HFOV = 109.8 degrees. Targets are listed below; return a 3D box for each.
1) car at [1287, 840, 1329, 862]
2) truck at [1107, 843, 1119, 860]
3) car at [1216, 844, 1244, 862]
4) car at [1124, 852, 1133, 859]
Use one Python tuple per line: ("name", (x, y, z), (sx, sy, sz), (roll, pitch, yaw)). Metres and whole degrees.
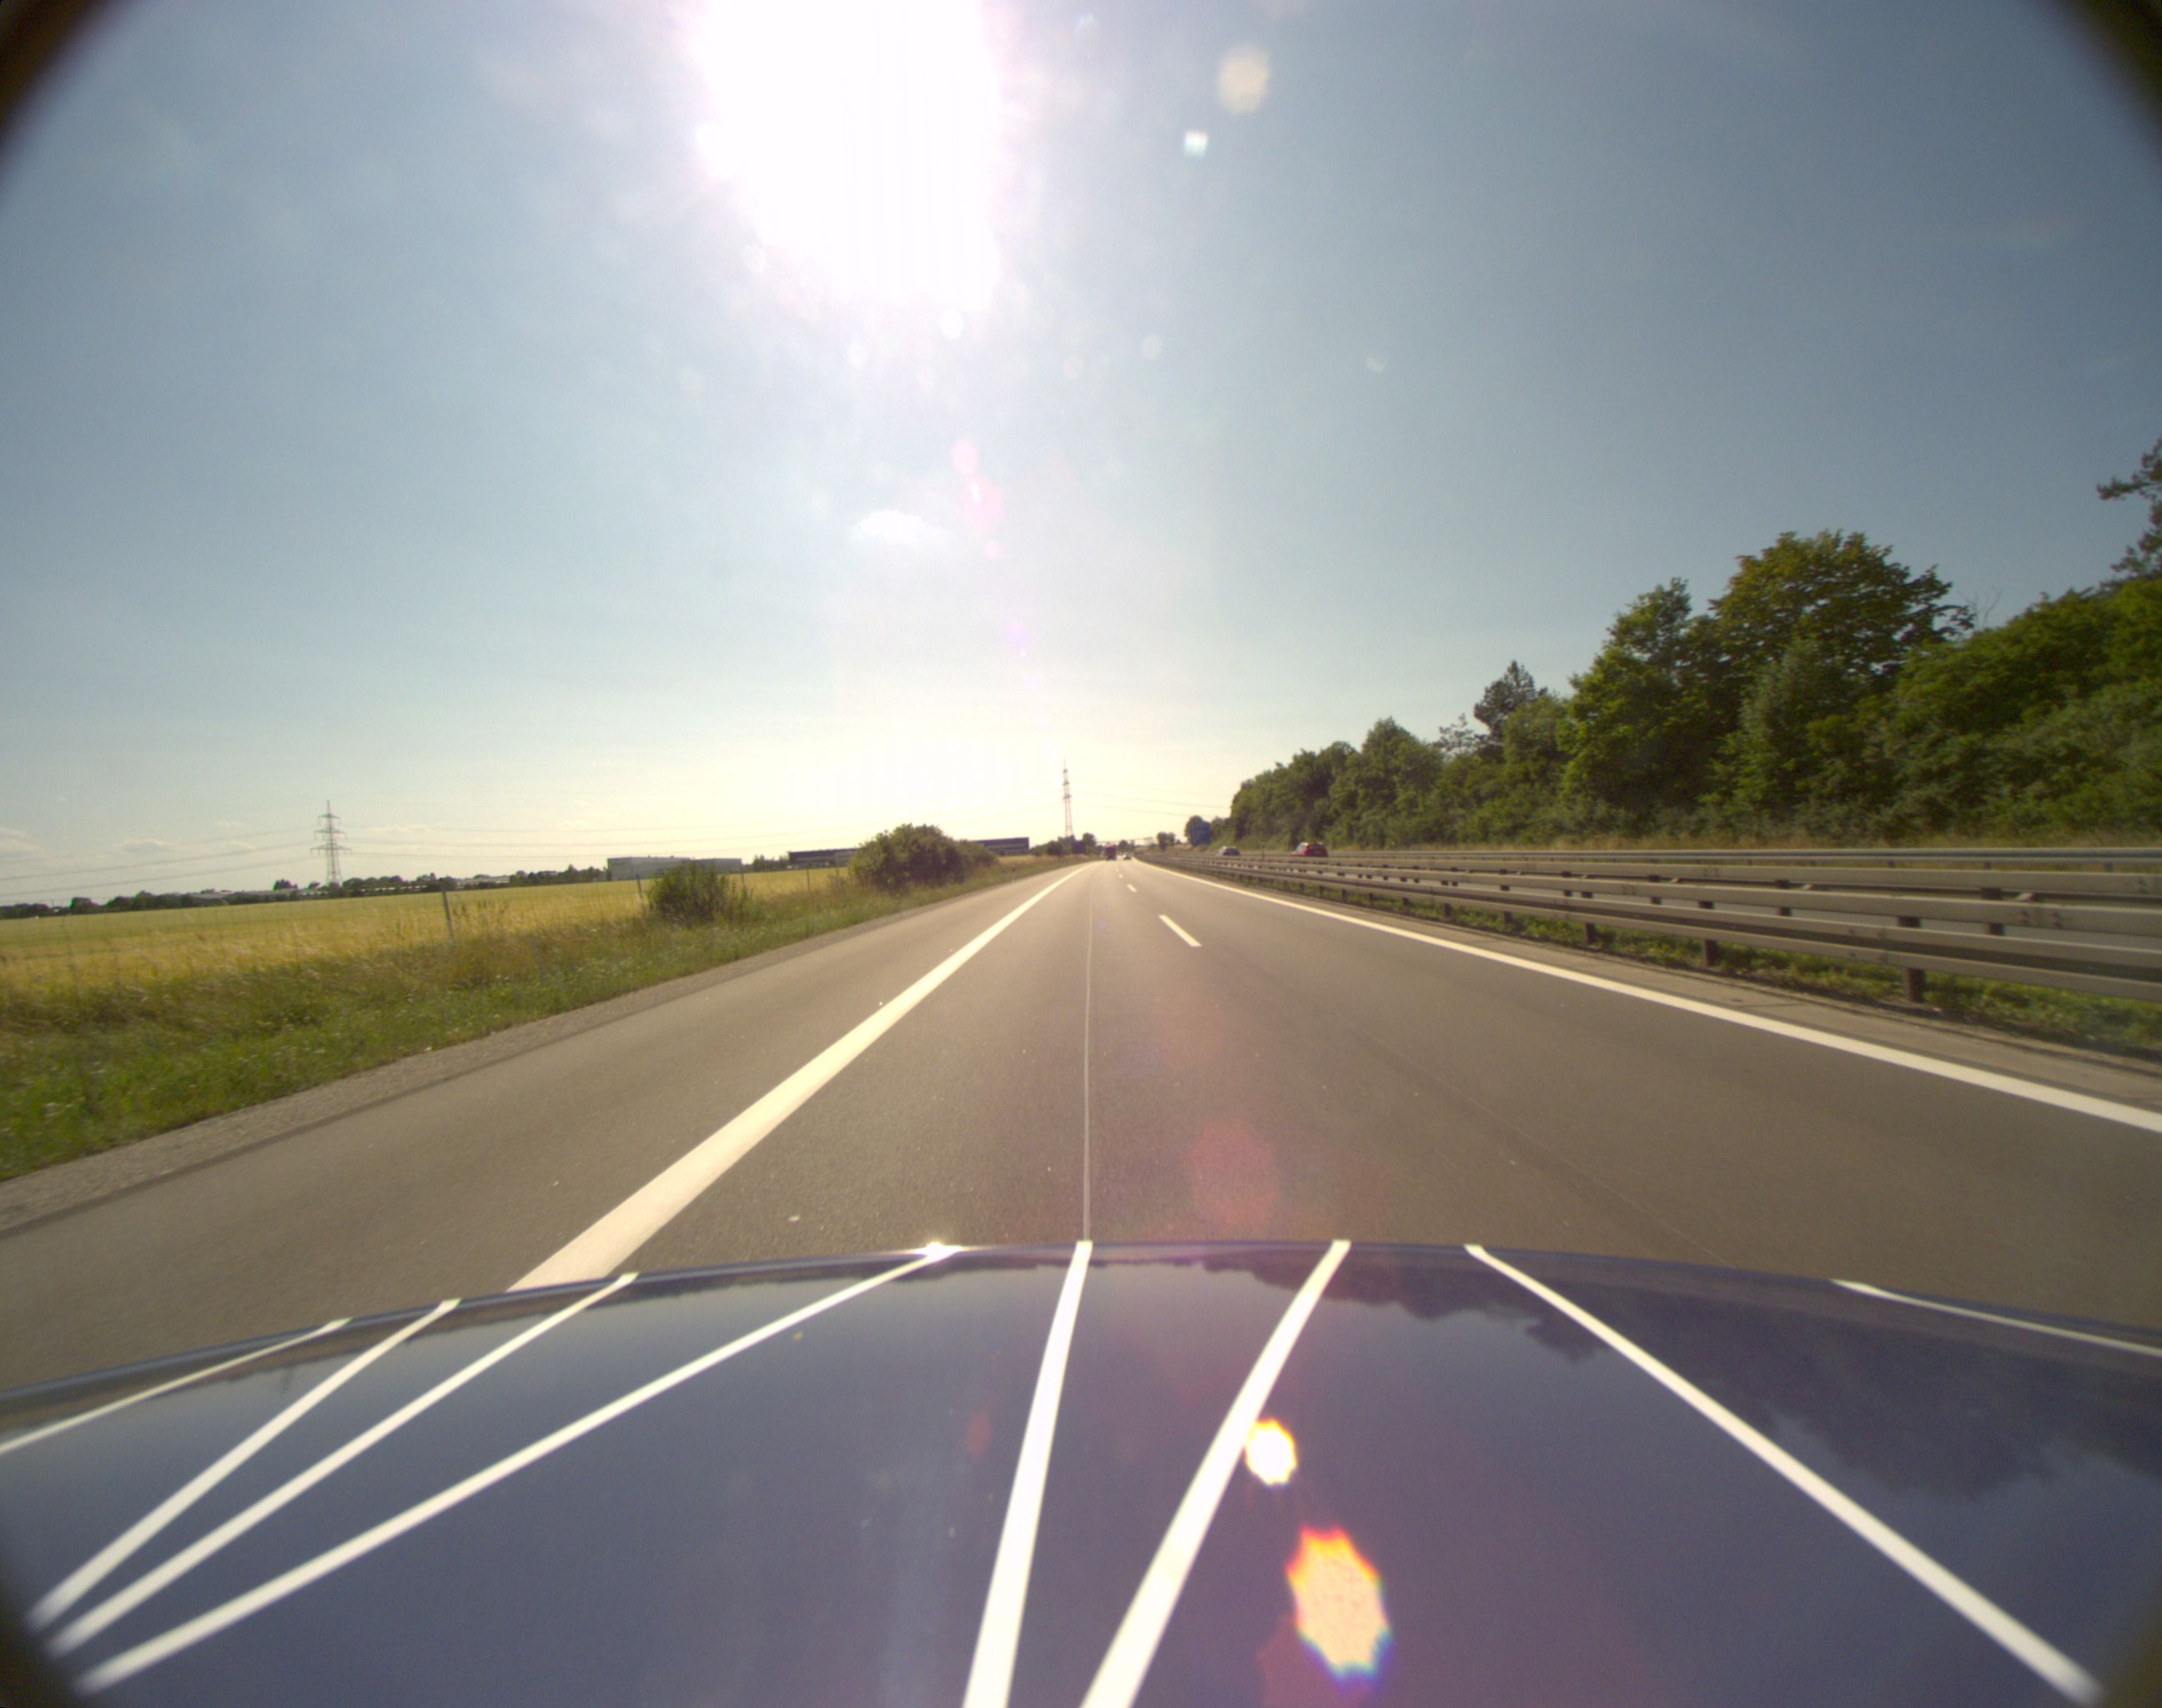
("car", (16.251, -0.227, 54.555), (1.653, 1.484, 4.539), (-3, 0, 1))
("truck", (7.912, -0.597, 185.744), (2.570, 3.939, 8.644), (-5, 0, 2))
("car", (13.435, -0.078, 68.643), (1.653, 1.484, 4.539), (-3, 0, 1))
("car", (10.524, 0.283, 169.374), (1.860, 1.361, 4.000), (-2, 1, 3))
